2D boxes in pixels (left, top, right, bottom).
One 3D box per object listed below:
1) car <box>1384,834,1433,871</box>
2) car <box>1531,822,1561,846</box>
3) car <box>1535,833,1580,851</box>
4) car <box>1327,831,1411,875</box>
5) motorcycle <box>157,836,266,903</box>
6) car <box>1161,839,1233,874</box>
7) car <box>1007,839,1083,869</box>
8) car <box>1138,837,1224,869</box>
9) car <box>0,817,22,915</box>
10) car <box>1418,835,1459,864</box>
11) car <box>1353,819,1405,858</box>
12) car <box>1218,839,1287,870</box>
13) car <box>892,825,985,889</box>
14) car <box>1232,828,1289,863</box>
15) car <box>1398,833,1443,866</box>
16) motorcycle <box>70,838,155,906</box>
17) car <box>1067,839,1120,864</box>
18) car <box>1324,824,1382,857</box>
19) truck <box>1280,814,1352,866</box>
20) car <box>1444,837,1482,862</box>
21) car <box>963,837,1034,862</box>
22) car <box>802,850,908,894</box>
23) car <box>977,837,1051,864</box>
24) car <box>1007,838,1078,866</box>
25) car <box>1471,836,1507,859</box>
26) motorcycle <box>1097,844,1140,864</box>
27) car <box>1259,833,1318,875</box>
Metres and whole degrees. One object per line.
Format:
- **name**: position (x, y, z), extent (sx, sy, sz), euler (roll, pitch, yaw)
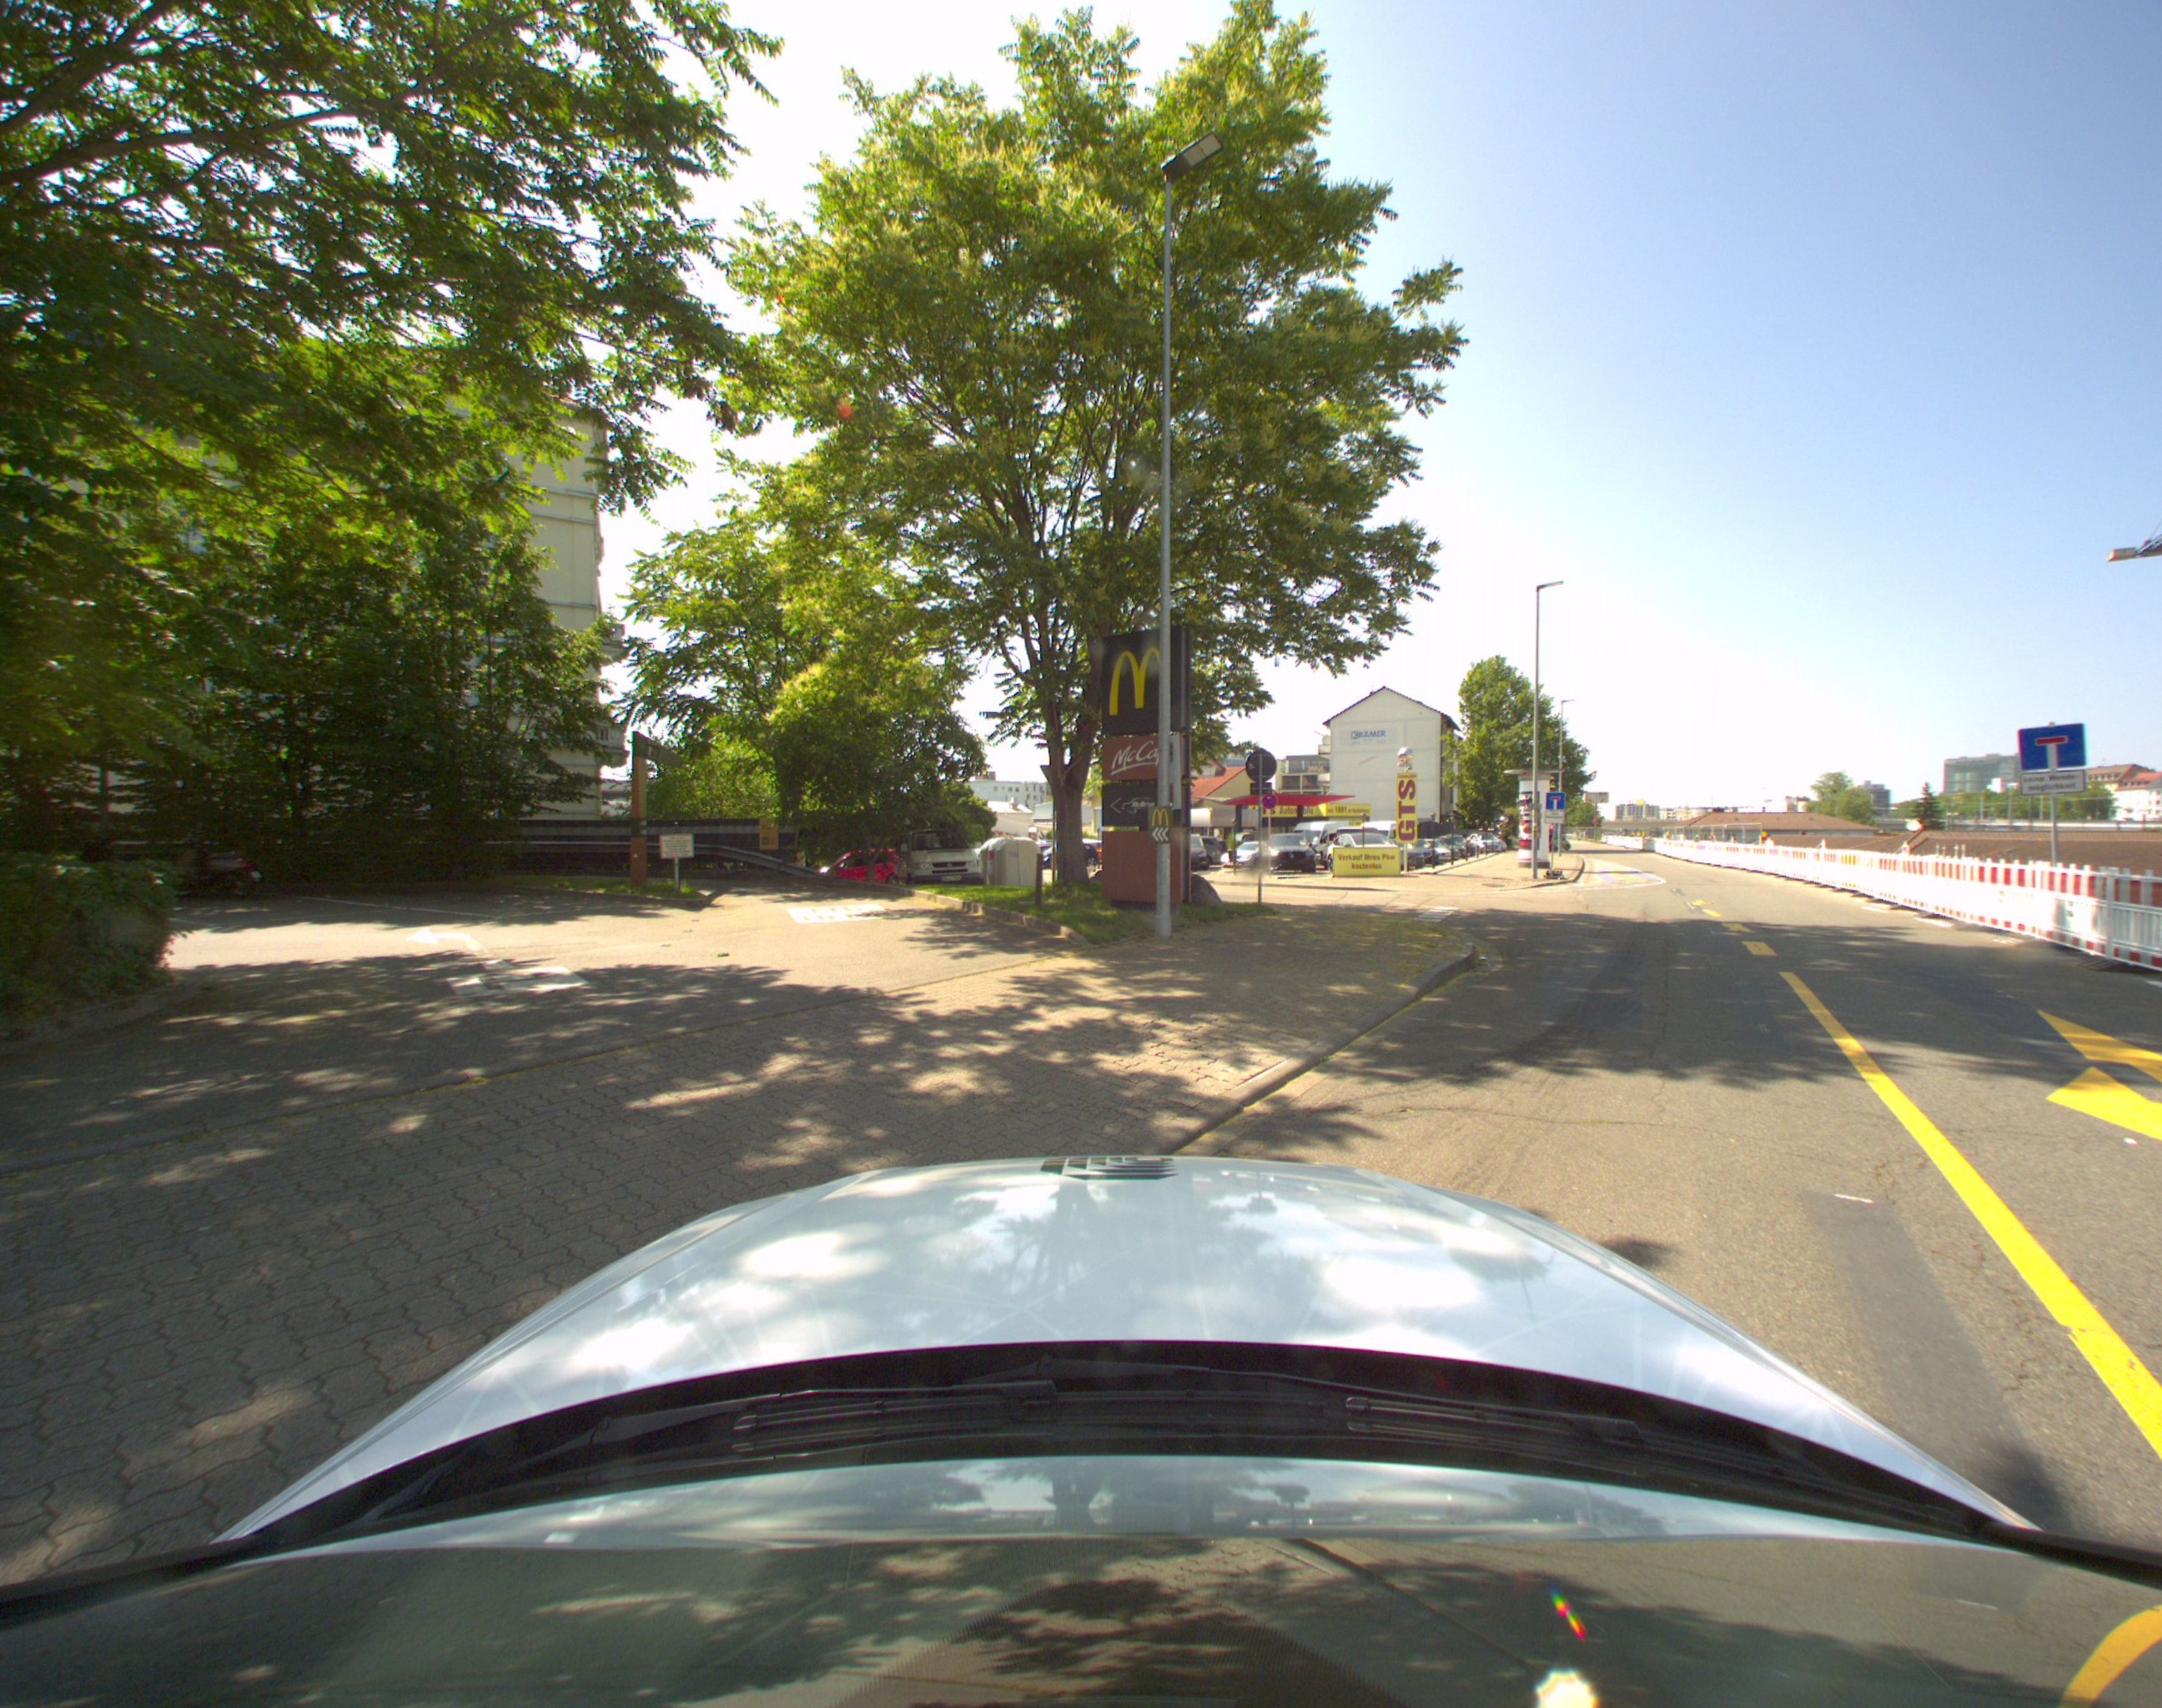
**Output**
- **car**: position (15.145, -0.119, 37.825), extent (1.842, 1.629, 4.019), euler (1, 1, 18)
- **car**: position (51.320, -2.208, 89.796), extent (2.513, 2.519, 5.150), euler (2, 1, 33)
- **car**: position (45.108, -1.110, 77.105), extent (3.269, 1.637, 1.721), euler (1, 1, -9)
- **car**: position (11.949, -0.079, 34.080), extent (1.988, 1.725, 3.998), euler (1, 1, -1)
- **motorcycle**: position (-15.844, 0.270, 14.841), extent (1.590, 1.169, 0.572), euler (1, 2, 11)
- **car**: position (5.356, 0.091, 37.345), extent (1.771, 1.509, 4.025), euler (2, 1, 32)
- **car**: position (-2.133, 0.005, 48.108), extent (4.010, 1.705, 1.982), euler (1, 1, -29)
- **car**: position (5.367, -0.074, 44.165), extent (4.314, 1.585, 1.997), euler (1, 1, -5)
- **car**: position (-18.497, 0.139, 12.623), extent (3.857, 1.469, 1.671), euler (3, 3, 25)
- **car**: position (20.853, -0.297, 47.633), extent (1.842, 1.629, 4.019), euler (1, 1, 18)
- **car**: position (18.550, -0.968, 50.554), extent (2.115, 2.284, 4.741), euler (1, 1, 31)
- **car**: position (8.909, 0.005, 42.089), extent (1.771, 1.487, 4.025), euler (2, 1, 41)
- **car**: position (-4.098, 0.001, 22.766), extent (1.956, 1.583, 5.003), euler (1, 2, -17)
- **car**: position (11.189, -0.522, 50.462), extent (1.974, 2.013, 4.524), euler (2, 1, 33)
- **car**: position (17.809, -0.270, 42.887), extent (1.842, 1.629, 4.019), euler (1, 1, 18)
- **motorcycle**: position (-17.217, 0.294, 14.475), extent (1.586, 1.140, 0.477), euler (1, 2, 22)
- **car**: position (0.818, -0.186, 55.671), extent (2.004, 1.585, 3.966), euler (1, 1, -26)
- **car**: position (15.241, -0.773, 45.451), extent (1.859, 1.737, 4.752), euler (2, 2, 34)
- **truck**: position (14.276, -0.861, 49.170), extent (2.247, 2.903, 5.981), euler (2, 2, 35)
- **car**: position (25.690, -0.334, 54.842), extent (1.842, 1.629, 4.019), euler (1, 1, 18)
- **car**: position (-5.856, -0.301, 57.928), extent (4.674, 1.725, 1.979), euler (1, 0, -35)
- **car**: position (-8.084, 0.604, 29.132), extent (3.422, 1.378, 1.474), euler (-1, 4, -27)
- **car**: position (-4.579, -0.238, 55.892), extent (4.674, 1.725, 1.979), euler (1, 0, -35)
- **car**: position (-2.416, -0.110, 51.434), extent (4.017, 1.725, 1.978), euler (1, 0, -36)
- **car**: position (30.679, -0.528, 61.307), extent (1.842, 1.629, 4.019), euler (1, 1, 18)
- **motorcycle**: position (2.429, -0.016, 52.128), extent (2.730, 1.226, 0.988), euler (0, 1, -36)
- **car**: position (8.653, -0.041, 34.257), extent (2.034, 1.594, 4.436), euler (1, 1, 10)
